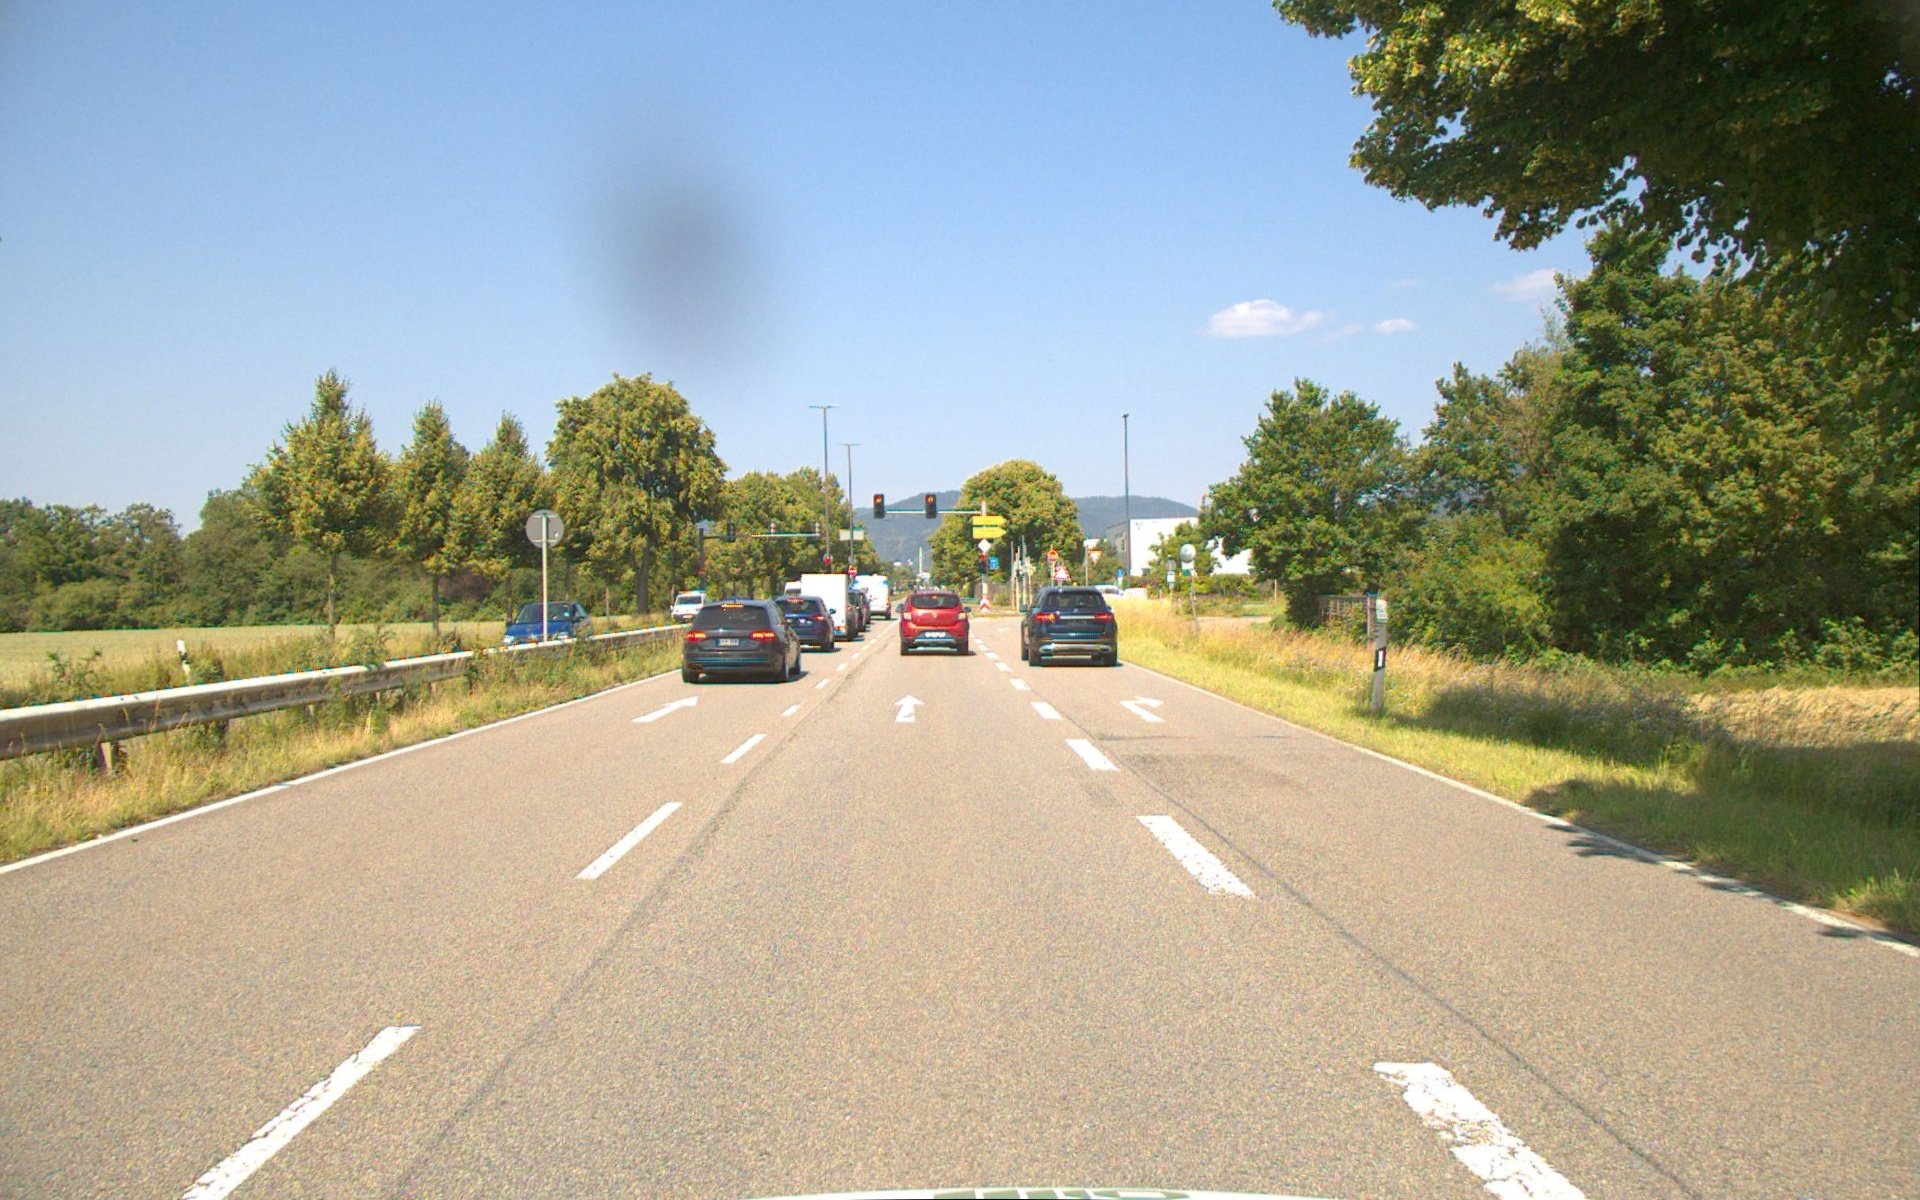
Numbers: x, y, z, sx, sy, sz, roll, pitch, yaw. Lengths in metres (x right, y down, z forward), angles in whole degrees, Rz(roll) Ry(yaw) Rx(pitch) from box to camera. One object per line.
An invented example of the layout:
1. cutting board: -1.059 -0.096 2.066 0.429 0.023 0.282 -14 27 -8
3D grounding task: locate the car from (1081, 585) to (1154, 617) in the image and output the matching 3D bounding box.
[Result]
1. car: 9.894 0.051 103.837 4.397 1.900 1.885 -2 0 1

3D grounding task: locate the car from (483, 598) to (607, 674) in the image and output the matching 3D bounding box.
1. car: -9.960 0.820 40.080 1.953 1.691 4.479 -1 0 -2

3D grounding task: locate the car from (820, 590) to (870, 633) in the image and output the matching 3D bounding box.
1. car: -4.432 0.436 64.267 1.688 1.603 3.892 -1 0 -1

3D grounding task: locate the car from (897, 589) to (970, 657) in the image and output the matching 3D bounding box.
1. car: -0.625 0.540 41.241 1.713 1.603 3.676 0 0 0

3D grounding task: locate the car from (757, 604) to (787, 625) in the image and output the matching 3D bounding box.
1. car: -14.266 1.118 125.916 1.841 1.480 4.503 -2 0 -2

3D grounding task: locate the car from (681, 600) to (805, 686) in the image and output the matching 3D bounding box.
1. car: -3.810 0.718 29.703 1.705 1.404 4.454 0 0 -1

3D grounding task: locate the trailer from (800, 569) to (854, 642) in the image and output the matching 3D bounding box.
1. trailer: -4.232 0.174 53.051 1.470 2.211 4.173 -1 0 -2

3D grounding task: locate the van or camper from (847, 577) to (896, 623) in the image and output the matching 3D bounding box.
1. van or camper: -4.710 -0.007 88.672 2.134 2.343 4.828 -1 0 2

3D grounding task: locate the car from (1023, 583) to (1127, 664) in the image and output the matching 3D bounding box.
1. car: 2.406 0.465 35.599 1.952 1.645 4.339 0 0 0

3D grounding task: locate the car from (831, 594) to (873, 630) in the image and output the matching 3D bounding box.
1. car: -5.042 0.540 77.544 1.689 1.628 3.955 -1 0 -1

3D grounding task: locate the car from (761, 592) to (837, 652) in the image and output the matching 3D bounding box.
1. car: -4.203 0.546 43.585 1.682 1.491 4.029 0 0 -1

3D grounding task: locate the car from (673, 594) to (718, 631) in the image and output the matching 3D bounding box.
1. car: -15.204 0.688 95.301 1.953 1.985 4.828 -1 0 -2
